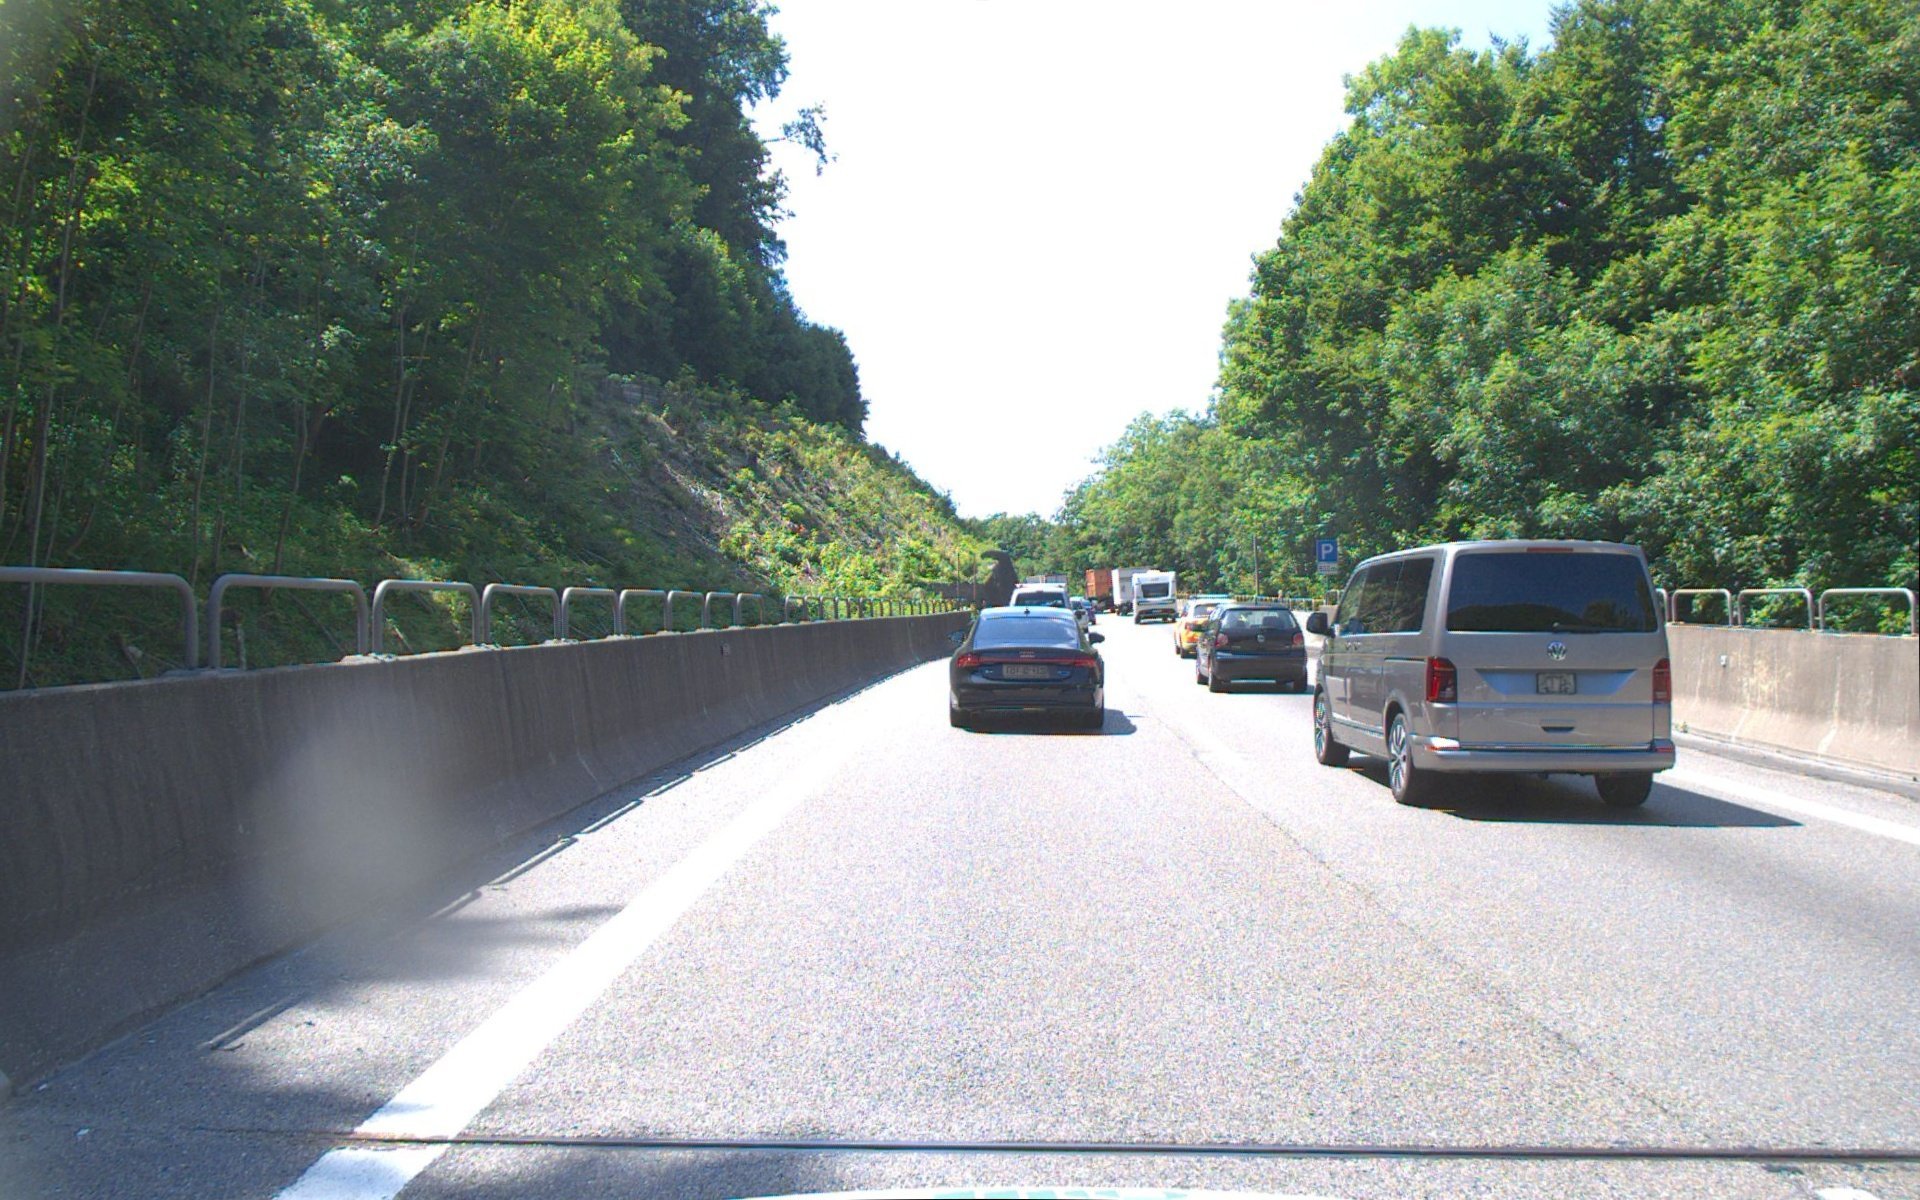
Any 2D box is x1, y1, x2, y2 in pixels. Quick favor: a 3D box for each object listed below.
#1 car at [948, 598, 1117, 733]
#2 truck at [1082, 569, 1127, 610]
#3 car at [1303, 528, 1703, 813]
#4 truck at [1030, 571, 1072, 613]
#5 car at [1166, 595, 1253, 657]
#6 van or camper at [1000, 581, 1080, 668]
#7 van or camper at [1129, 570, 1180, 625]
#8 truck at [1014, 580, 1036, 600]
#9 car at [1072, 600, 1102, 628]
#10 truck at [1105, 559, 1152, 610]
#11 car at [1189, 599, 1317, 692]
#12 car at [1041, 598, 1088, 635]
[{"bbox_3d":[0.809,0.740,20.952,1.866,1.515,4.378,0,0,-1],"label":"car"},{"bbox_3d":[12.757,-0.890,146.782,3.099,3.529,8.220,0,0,-1],"label":"truck"},{"bbox_3d":[4.245,0.488,13.798,1.900,1.965,4.695,0,0,2],"label":"car"},{"bbox_3d":[10.189,-0.870,186.354,3.638,4.583,7.714,0,0,-6],"label":"truck"},{"bbox_3d":[6.324,0.639,42.305,1.770,1.503,4.083,0,0,2],"label":"car"},{"bbox_3d":[1.931,0.564,39.897,1.815,1.976,4.166,0,0,3],"label":"van or camper"},{"bbox_3d":[10.463,-0.136,89.550,2.548,2.905,6.339,0,0,5],"label":"van or camper"},{"bbox_3d":[6.885,-1.085,175.490,1.954,2.049,3.998,0,0,-3],"label":"truck"},{"bbox_3d":[7.339,0.797,95.764,1.714,1.598,3.773,0,0,4],"label":"car"},{"bbox_3d":[12.756,-1.118,125.597,2.865,3.752,7.725,0,0,1],"label":"truck"},{"bbox_3d":[4.963,0.723,28.432,1.650,1.484,4.001,0,0,3],"label":"car"},{"bbox_3d":[4.600,0.714,73.449,1.856,1.612,3.771,0,0,0],"label":"car"}]
